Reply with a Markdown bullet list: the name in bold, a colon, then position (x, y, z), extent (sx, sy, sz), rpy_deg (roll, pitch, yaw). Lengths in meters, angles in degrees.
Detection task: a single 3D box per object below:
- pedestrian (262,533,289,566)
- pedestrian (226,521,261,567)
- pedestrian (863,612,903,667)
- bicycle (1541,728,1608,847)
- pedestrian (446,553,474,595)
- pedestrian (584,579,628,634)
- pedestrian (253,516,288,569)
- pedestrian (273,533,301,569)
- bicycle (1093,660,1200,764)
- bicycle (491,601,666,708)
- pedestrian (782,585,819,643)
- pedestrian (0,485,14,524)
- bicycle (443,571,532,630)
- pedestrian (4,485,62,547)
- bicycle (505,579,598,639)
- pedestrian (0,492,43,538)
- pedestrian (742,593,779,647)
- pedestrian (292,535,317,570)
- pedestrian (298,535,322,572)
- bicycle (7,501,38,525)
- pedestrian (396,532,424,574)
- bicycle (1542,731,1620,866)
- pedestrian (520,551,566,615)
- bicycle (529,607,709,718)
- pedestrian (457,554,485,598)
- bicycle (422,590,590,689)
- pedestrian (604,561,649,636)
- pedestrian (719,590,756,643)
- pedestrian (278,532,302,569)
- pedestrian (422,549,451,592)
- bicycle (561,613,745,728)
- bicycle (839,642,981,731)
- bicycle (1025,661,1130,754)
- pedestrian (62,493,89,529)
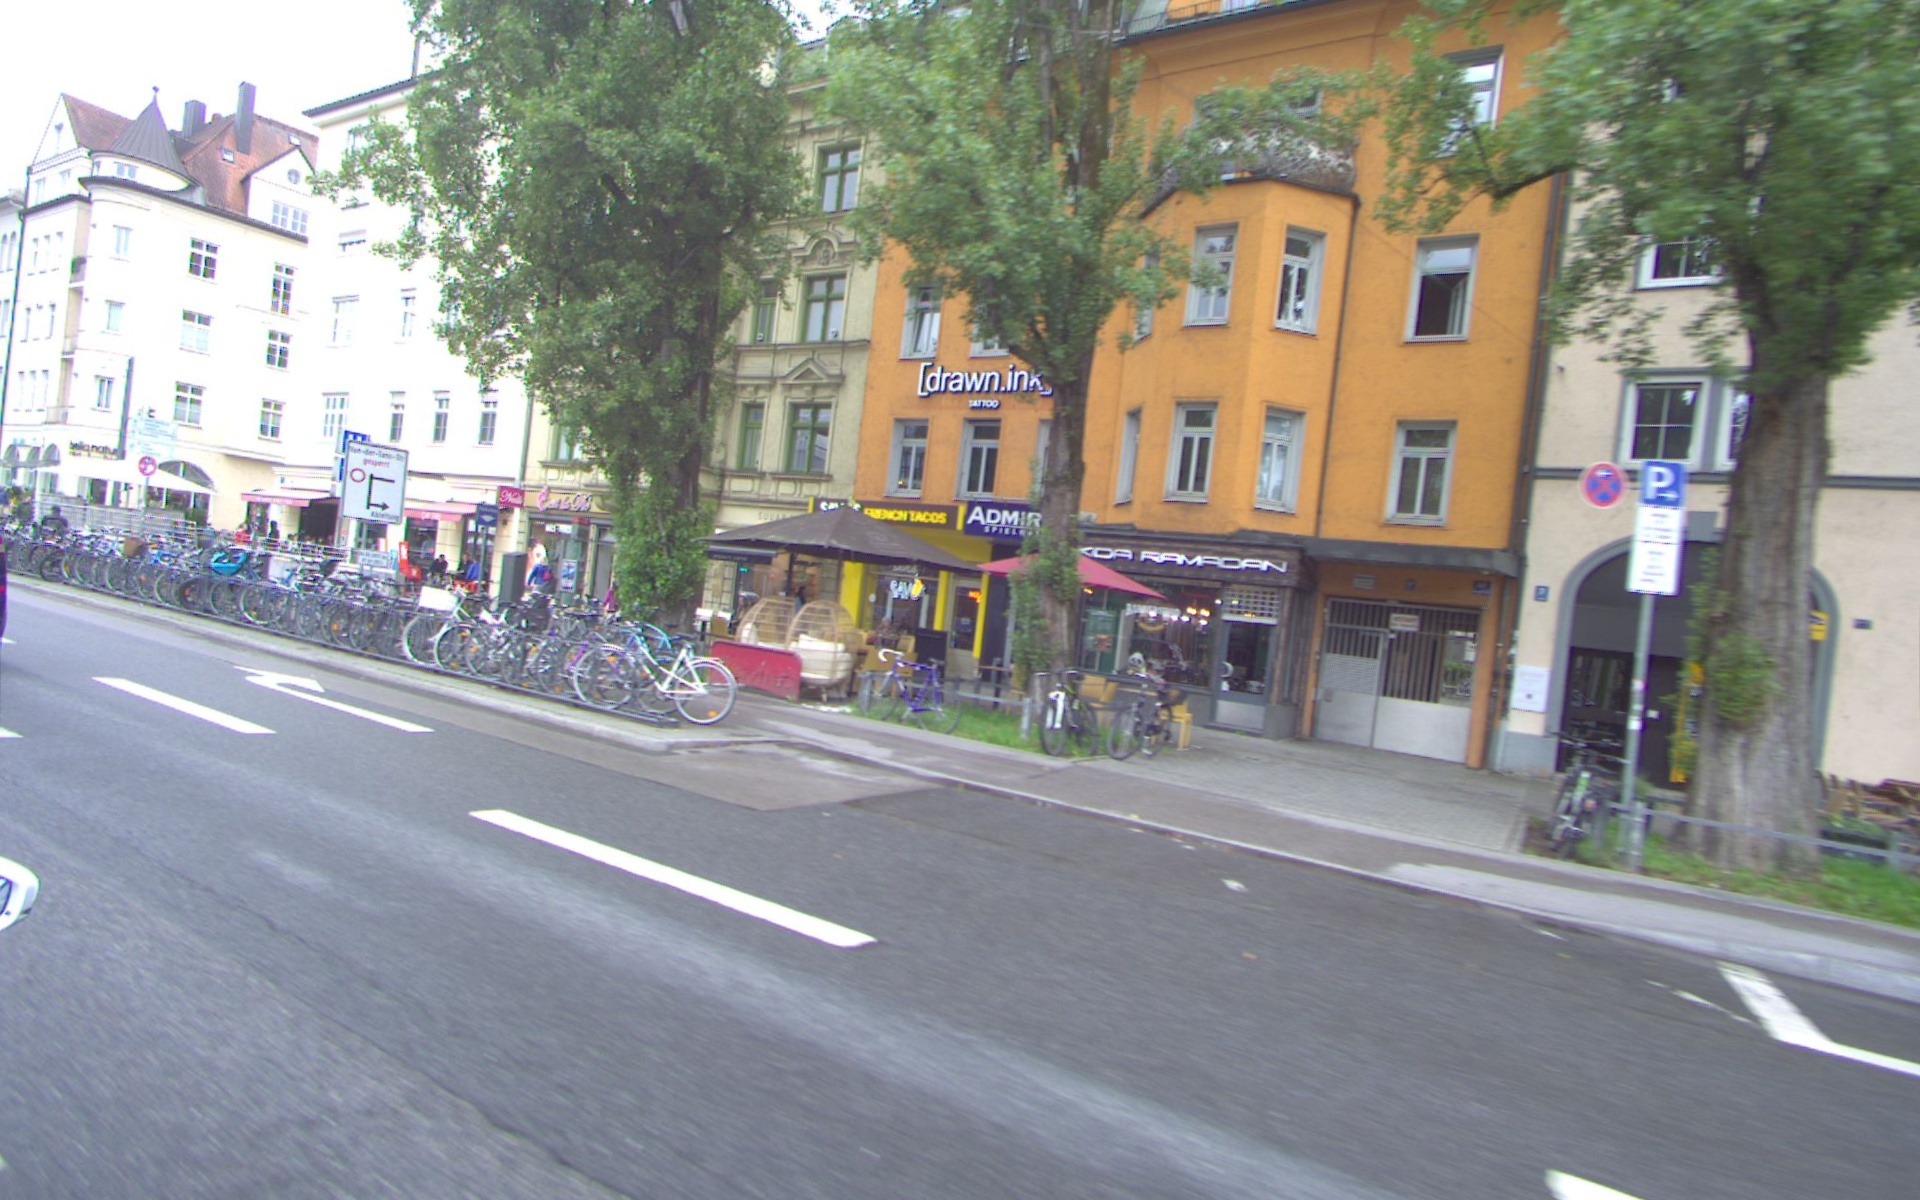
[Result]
- **pedestrian**: position (-26.625, -1.971, 39.114), extent (0.691, 1.196, 0.515), rpy_deg (7, 1, 30)
- **pedestrian**: position (-24.042, -1.873, 33.743), extent (0.606, 1.440, 0.676), rpy_deg (7, 1, 32)
- **pedestrian**: position (-1.836, 0.952, 23.956), extent (0.573, 1.233, 0.623), rpy_deg (7, 1, 31)
- **bicycle**: position (7.057, 2.107, 11.612), extent (0.450, 1.127, 1.891), rpy_deg (7, 0, 29)
- **pedestrian**: position (-16.545, -0.859, 33.304), extent (0.543, 1.305, 0.495), rpy_deg (7, 1, 32)
- **pedestrian**: position (-8.525, 0.154, 24.231), extent (0.655, 1.237, 0.601), rpy_deg (7, 1, 32)
- **pedestrian**: position (-23.155, -1.922, 33.792), extent (0.666, 1.653, 0.615), rpy_deg (7, 1, 32)
- **pedestrian**: position (-25.896, -1.879, 38.704), extent (0.691, 1.308, 0.515), rpy_deg (7, 1, 30)
- **bicycle**: position (2.456, 1.436, 13.058), extent (0.573, 1.188, 1.889), rpy_deg (7, 0, 33)
- **bicycle**: position (-4.526, 0.650, 12.009), extent (1.811, 1.008, 0.375), rpy_deg (8, 1, -8)
- **pedestrian**: position (-4.376, 0.377, 27.561), extent (0.574, 1.493, 0.625), rpy_deg (7, 1, 34)
- **pedestrian**: position (-45.505, -4.554, 47.563), extent (1.050, 1.777, 0.932), rpy_deg (7, 1, 41)
- **bicycle**: position (-9.818, 0.026, 20.976), extent (0.380, 1.058, 1.727), rpy_deg (8, 0, 26)
- **pedestrian**: position (-28.677, -2.589, 31.131), extent (0.842, 1.765, 0.884), rpy_deg (7, 1, 15)
- **bicycle**: position (-8.636, 0.209, 21.313), extent (0.382, 1.058, 1.720), rpy_deg (9, 0, 42)
- **pedestrian**: position (-35.145, -3.181, 37.688), extent (0.874, 1.560, 0.732), rpy_deg (7, 1, 17)
- **pedestrian**: position (-5.120, 0.512, 25.804), extent (0.573, 1.296, 0.584), rpy_deg (7, 1, 31)
- **pedestrian**: position (-24.251, -1.753, 37.217), extent (0.518, 1.180, 0.479), rpy_deg (7, 1, 30)
- **pedestrian**: position (-24.794, -1.784, 38.345), extent (0.518, 1.315, 0.479), rpy_deg (7, 1, 30)
- **bicycle**: position (-49.344, -4.580, 52.950), extent (1.833, 1.103, 0.495), rpy_deg (7, 1, 26)
- **pedestrian**: position (-19.931, -1.708, 36.475), extent (0.542, 1.414, 0.543), rpy_deg (7, 1, 5)
- **bicycle**: position (6.133, 1.907, 9.993), extent (0.450, 1.067, 1.891), rpy_deg (7, 0, 29)
- **pedestrian**: position (-11.561, -0.458, 27.865), extent (0.773, 1.653, 0.711), rpy_deg (7, 1, 32)
- **bicycle**: position (-3.905, 0.722, 11.592), extent (1.811, 1.008, 0.375), rpy_deg (8, 1, -8)
- **pedestrian**: position (-15.841, -0.788, 32.600), extent (0.543, 1.349, 0.495), rpy_deg (7, 1, 32)
- **bicycle**: position (-5.747, 0.506, 12.812), extent (1.815, 1.008, 0.374), rpy_deg (9, 1, -17)
- **pedestrian**: position (-8.240, -0.033, 24.851), extent (0.655, 1.761, 0.601), rpy_deg (7, 1, 32)
- **pedestrian**: position (-5.805, 0.433, 26.256), extent (0.573, 1.296, 0.584), rpy_deg (7, 1, 31)
- **pedestrian**: position (-25.104, -1.856, 37.706), extent (0.518, 1.315, 0.479), rpy_deg (7, 1, 30)
- **pedestrian**: position (-16.946, -0.948, 32.557), extent (0.543, 1.305, 0.495), rpy_deg (7, 1, 32)
- **bicycle**: position (-3.398, 0.779, 11.217), extent (1.811, 1.008, 0.375), rpy_deg (8, 1, -8)
- **bicycle**: position (-0.685, 1.134, 13.408), extent (1.862, 0.903, 0.457), rpy_deg (7, 0, 31)
- **bicycle**: position (1.551, 1.376, 13.033), extent (0.451, 1.067, 1.889), rpy_deg (7, 0, 33)
- **pedestrian**: position (-43.867, -4.414, 49.909), extent (0.673, 1.707, 0.742), rpy_deg (8, 3, -22)
